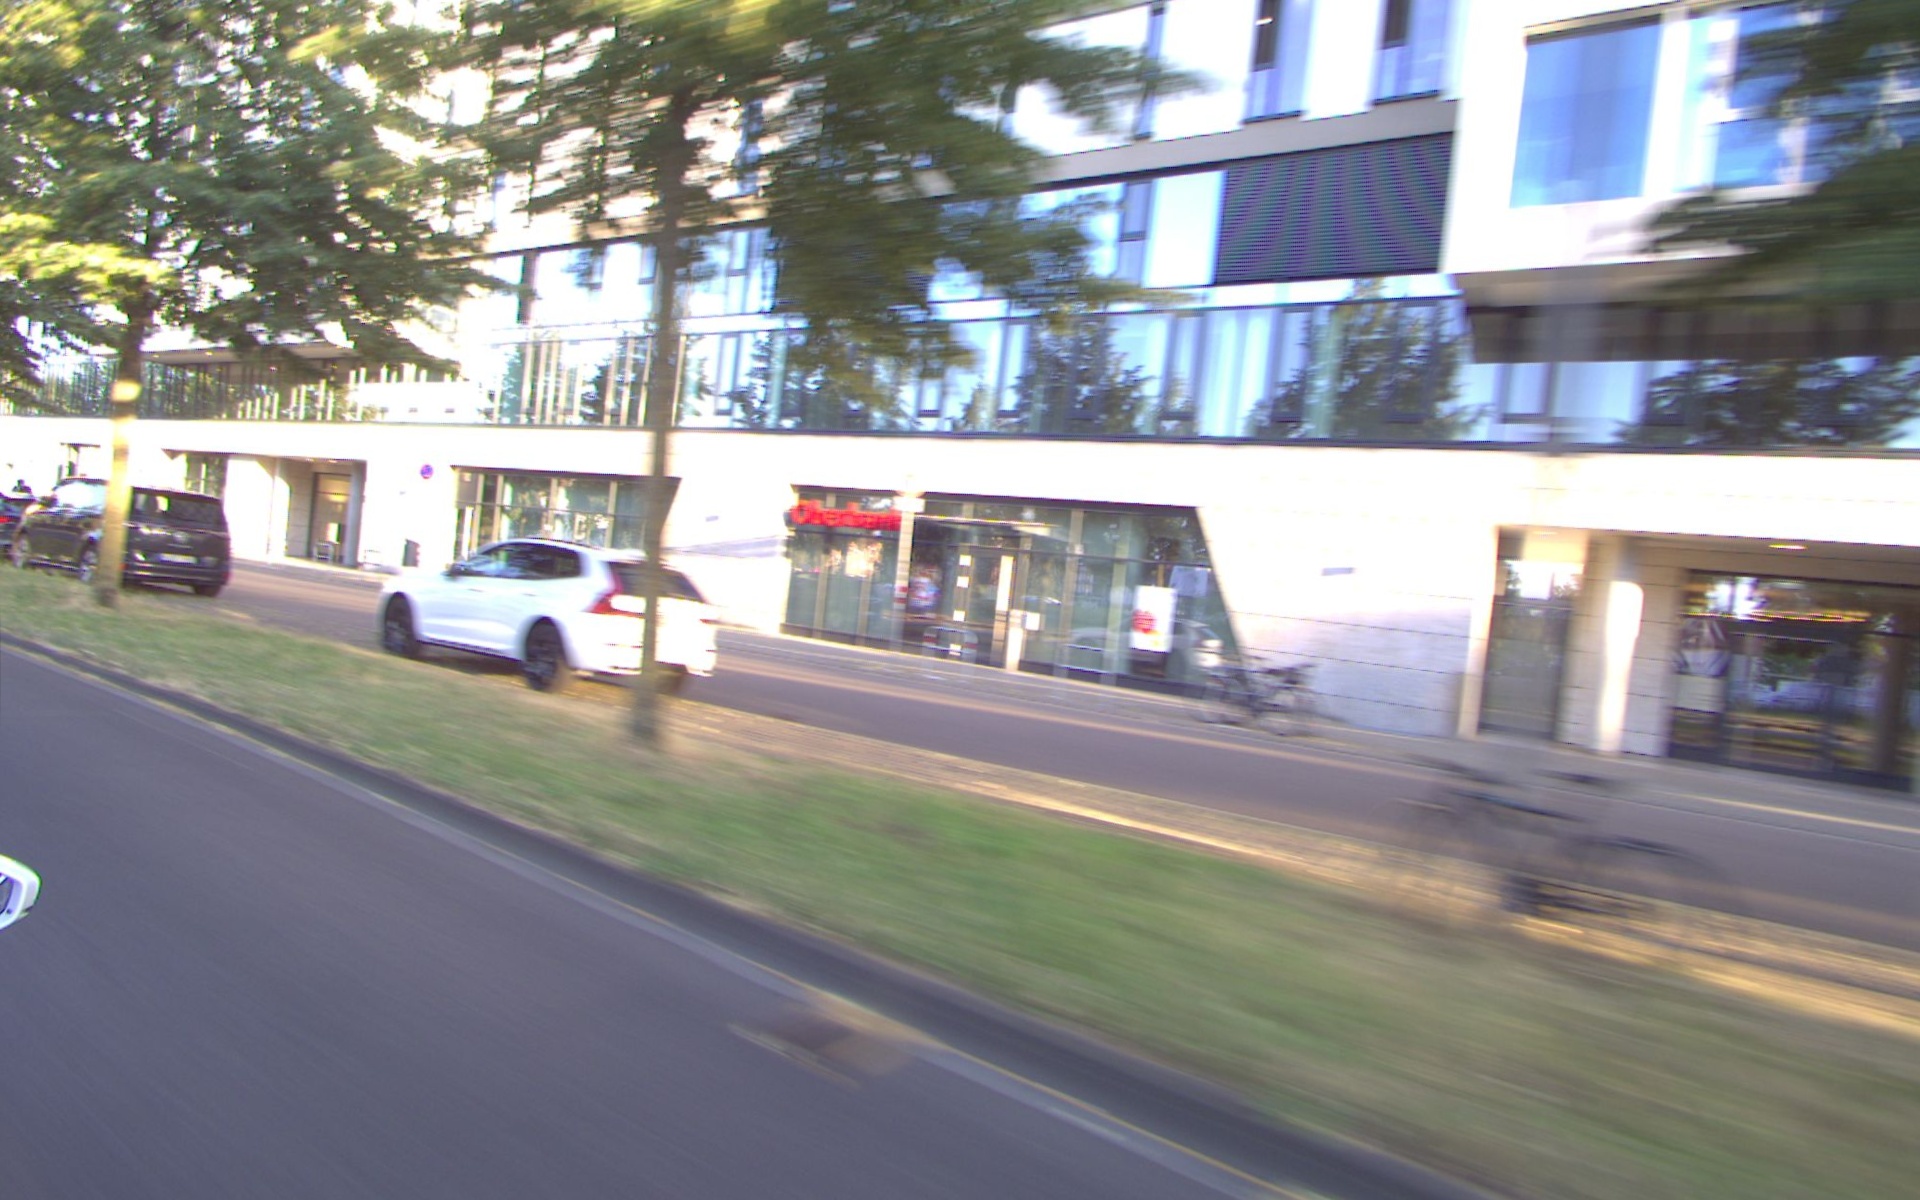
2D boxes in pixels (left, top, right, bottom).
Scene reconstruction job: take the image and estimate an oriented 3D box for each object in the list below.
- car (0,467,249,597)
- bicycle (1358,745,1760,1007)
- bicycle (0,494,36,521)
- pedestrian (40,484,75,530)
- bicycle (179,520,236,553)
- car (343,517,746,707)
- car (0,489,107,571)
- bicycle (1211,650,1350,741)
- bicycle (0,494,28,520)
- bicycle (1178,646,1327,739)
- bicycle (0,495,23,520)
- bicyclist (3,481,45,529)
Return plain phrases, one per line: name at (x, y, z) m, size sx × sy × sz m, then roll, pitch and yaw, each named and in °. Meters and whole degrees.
car at (-15.490, -1.265, 18.551) m, size 4.585 × 1.875 × 1.996 m, roll 7°, pitch 1°, yaw 29°
bicycle at (2.781, 1.251, 4.806) m, size 1.527 × 0.834 × 0.315 m, roll 7°, pitch 1°, yaw 32°
bicycle at (-44.807, -4.400, 47.377) m, size 0.499 × 1.118 × 1.788 m, roll 7°, pitch 0°, yaw 26°
pedestrian at (-34.864, -3.588, 38.865) m, size 0.937 × 1.669 × 0.643 m, roll 7°, pitch 1°, yaw 30°
bicycle at (-27.642, -2.318, 36.968) m, size 0.397 × 0.999 × 1.577 m, roll 7°, pitch 1°, yaw 31°
car at (-5.138, 0.074, 12.247) m, size 4.797 × 1.663 × 1.995 m, roll 7°, pitch 1°, yaw 31°
car at (-20.627, -1.633, 21.726) m, size 4.585 × 1.490 × 1.812 m, roll 7°, pitch 1°, yaw 29°
bicycle at (4.687, 1.376, 14.769) m, size 1.777 × 1.052 × 0.470 m, roll 7°, pitch 1°, yaw 32°
bicycle at (-45.384, -4.455, 47.594) m, size 0.499 × 1.118 × 1.788 m, roll 7°, pitch 0°, yaw 26°
bicycle at (4.173, 1.299, 14.421) m, size 1.861 × 1.052 × 0.595 m, roll 7°, pitch 1°, yaw 32°
bicycle at (-45.957, -4.484, 47.922) m, size 0.499 × 1.118 × 1.788 m, roll 7°, pitch 0°, yaw 26°
bicyclist at (-34.077, -3.447, 36.632) m, size 0.975 × 1.586 × 0.773 m, roll 7°, pitch 1°, yaw 29°
